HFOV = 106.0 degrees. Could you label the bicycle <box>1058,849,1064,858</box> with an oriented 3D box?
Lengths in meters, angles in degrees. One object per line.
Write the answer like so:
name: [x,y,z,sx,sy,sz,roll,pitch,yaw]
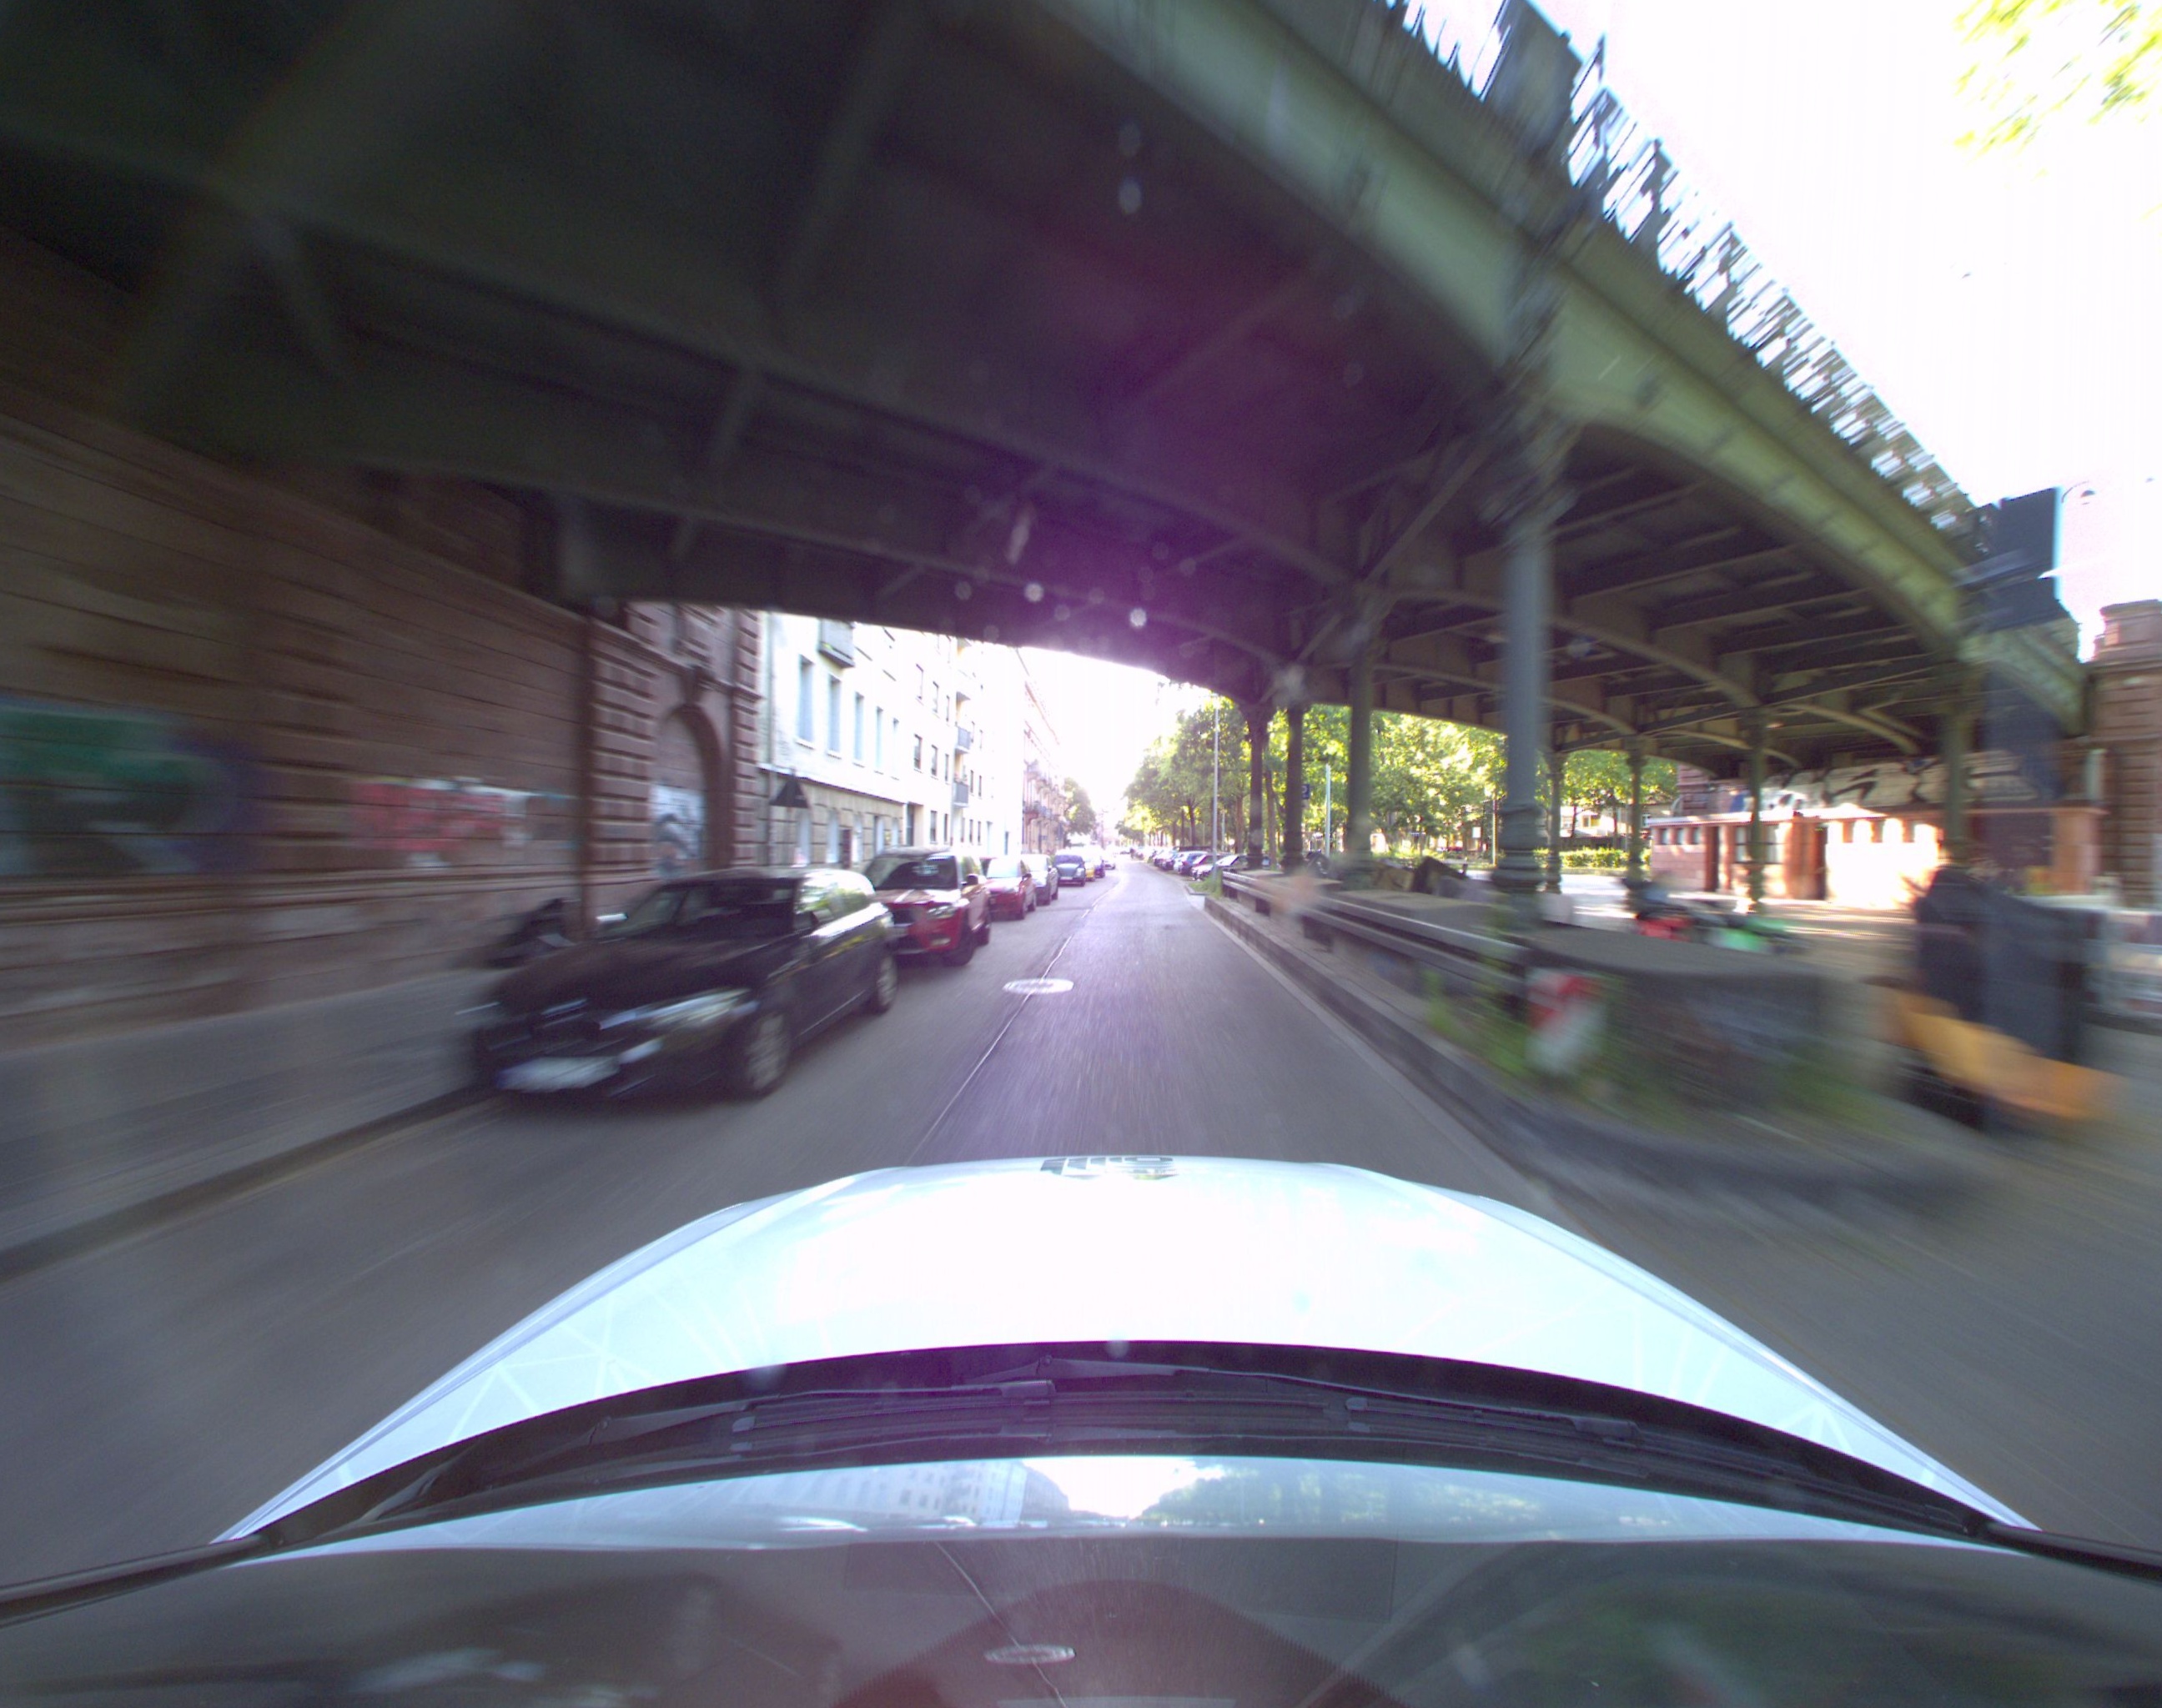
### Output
bicycle: [-2.878,-0.054,116.777,0.703,1.147,1.889,2,-1,-1]

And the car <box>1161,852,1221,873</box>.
car: [8.293,0.650,61.685,4.379,1.577,1.666,0,-1,4]

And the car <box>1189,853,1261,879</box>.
car: [8.146,0.687,46.346,3.772,1.401,1.765,0,-1,-2]

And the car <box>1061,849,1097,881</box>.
car: [-0.044,0.538,41.824,1.696,1.525,3.775,0,0,2]

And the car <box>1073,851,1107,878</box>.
car: [0.578,0.546,46.704,1.732,1.479,4.004,0,0,4]

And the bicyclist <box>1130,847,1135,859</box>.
bicyclist: [7.072,-0.162,111.943,0.625,1.573,0.802,2,-1,1]

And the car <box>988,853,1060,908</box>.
car: [-1.649,0.744,24.762,1.630,1.466,4.003,-2,0,3]

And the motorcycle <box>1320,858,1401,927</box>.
motorcycle: [6.026,0.814,17.554,1.586,1.408,0.716,1,-2,22]

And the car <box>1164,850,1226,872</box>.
car: [8.251,0.505,58.931,4.375,1.577,1.667,0,-1,7]

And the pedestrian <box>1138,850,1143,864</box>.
pedestrian: [6.857,0.300,93.395,0.377,1.584,0.522,1,2,21]

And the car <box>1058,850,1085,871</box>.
car: [-0.677,0.447,62.659,1.661,1.471,4.287,4,0,3]

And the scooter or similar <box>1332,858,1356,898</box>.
scooter or similar: [8.986,0.817,27.874,0.475,1.298,1.327,2,-1,5]

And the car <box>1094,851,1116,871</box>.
car: [1.997,0.544,67.232,1.661,1.430,4.004,-2,1,3]

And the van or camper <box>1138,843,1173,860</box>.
van or camper: [11.047,-0.326,121.375,4.965,2.377,2.185,2,-1,0]

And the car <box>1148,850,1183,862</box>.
car: [10.284,0.242,98.935,4.068,1.442,1.761,-1,0,-1]

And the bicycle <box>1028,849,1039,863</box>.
bicycle: [-4.390,0.168,75.678,0.733,1.206,2.516,2,1,3]

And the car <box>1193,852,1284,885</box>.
car: [7.083,0.664,36.807,3.772,1.472,1.634,0,-1,-2]

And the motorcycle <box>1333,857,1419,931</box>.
motorcycle: [6.042,0.796,16.683,1.586,1.408,0.716,1,-2,22]

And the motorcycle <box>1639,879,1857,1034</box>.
motorcycle: [5.213,0.742,6.344,1.732,1.030,0.804,3,-2,-32]

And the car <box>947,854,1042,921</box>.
car: [-1.991,0.731,19.798,1.682,1.441,4.003,0,0,3]

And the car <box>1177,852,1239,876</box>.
car: [8.018,0.628,51.567,3.764,1.474,1.666,0,-1,4]

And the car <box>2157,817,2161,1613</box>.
car: [4.328,0.768,0.800,4.359,1.577,1.674,2,-1,0]

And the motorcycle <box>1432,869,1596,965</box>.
motorcycle: [5.517,0.785,10.386,1.838,1.132,0.844,2,-2,-21]

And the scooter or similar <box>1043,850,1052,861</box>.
scooter or similar: [-3.847,0.167,93.699,0.780,1.222,2.705,2,-1,2]

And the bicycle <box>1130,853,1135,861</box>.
bicycle: [7.042,0.388,111.848,0.639,1.100,1.944,2,-1,1]

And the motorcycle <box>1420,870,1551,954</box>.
motorcycle: [5.776,0.820,11.661,1.602,1.132,0.709,2,-2,-15]

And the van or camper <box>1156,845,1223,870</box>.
van or camper: [8.881,0.268,66.883,5.389,2.027,2.032,0,1,4]

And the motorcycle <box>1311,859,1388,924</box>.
motorcycle: [6.128,0.838,18.564,1.586,1.408,0.716,1,-2,22]

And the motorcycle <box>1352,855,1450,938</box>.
motorcycle: [5.756,0.745,14.679,1.586,1.408,0.716,1,-2,22]

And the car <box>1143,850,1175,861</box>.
car: [10.428,0.171,108.848,4.198,1.453,1.652,-1,0,6]

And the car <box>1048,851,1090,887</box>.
car: [-0.486,0.650,36.640,1.560,1.517,3.786,0,0,4]

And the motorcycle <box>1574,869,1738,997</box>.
motorcycle: [5.686,0.742,8.028,1.732,1.132,0.705,3,-2,-32]

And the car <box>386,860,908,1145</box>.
car: [-2.720,0.796,6.288,1.709,1.464,4.003,0,0,3]

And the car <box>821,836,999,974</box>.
car: [-2.336,0.640,12.261,1.711,1.708,4.323,0,0,1]

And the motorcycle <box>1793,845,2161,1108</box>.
motorcycle: [5.163,0.618,4.654,1.938,1.238,0.898,2,-2,-23]

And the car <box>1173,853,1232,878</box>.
car: [8.050,0.755,54.199,3.766,1.646,1.665,0,-1,3]

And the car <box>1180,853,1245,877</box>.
car: [7.856,0.669,48.721,3.761,1.447,1.668,0,-1,7]

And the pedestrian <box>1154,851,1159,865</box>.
pedestrian: [8.442,0.475,90.674,0.377,1.516,0.522,1,2,21]

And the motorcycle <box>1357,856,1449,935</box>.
motorcycle: [6.151,0.777,15.578,1.586,1.408,0.716,1,-2,22]

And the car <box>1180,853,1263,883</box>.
car: [6.667,0.681,38.911,3.766,1.401,1.829,0,-1,3]

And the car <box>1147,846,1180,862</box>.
car: [10.544,0.000,104.389,4.202,1.864,1.763,-1,0,3]
